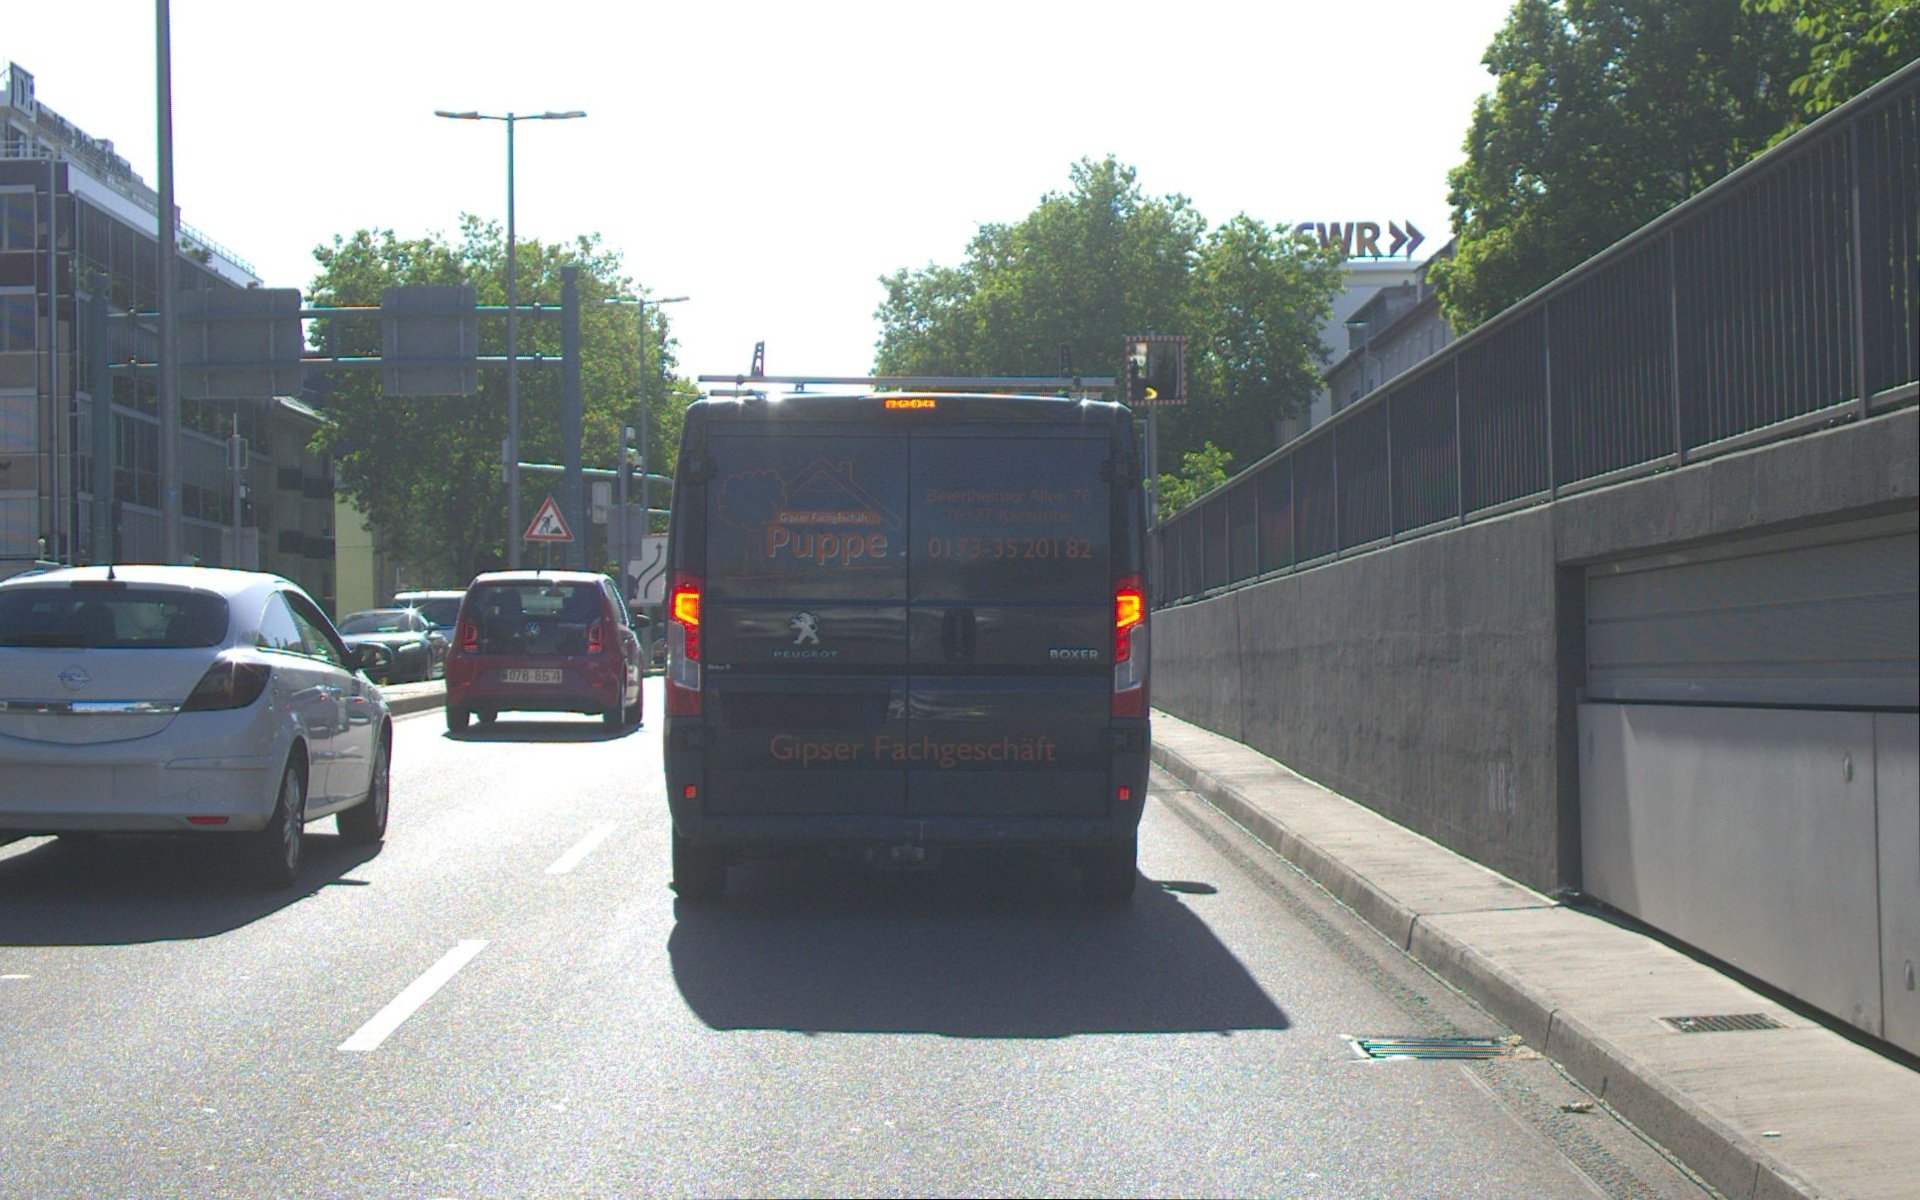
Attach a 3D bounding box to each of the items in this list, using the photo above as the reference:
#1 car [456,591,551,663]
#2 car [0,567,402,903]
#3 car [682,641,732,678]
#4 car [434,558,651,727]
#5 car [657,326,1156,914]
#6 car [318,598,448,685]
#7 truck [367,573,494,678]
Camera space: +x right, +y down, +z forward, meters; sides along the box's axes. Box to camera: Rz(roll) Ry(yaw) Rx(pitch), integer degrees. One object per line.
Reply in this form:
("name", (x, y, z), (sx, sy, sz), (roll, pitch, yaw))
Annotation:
("car", (-10.002, 0.582, 75.523), (1.609, 1.453, 3.608), (-4, 0, -2))
("car", (-3.759, 0.553, 16.459), (1.619, 1.398, 3.852), (1, 1, -1))
("car", (-11.035, 2.588, 150.192), (1.936, 1.550, 3.923), (1, -1, -1))
("car", (-3.850, 0.361, 32.135), (1.689, 1.478, 3.319), (1, 0, -2))
("car", (-0.253, 0.097, 15.992), (2.030, 2.394, 3.973), (0, -1, -1))
("car", (-9.557, 0.670, 57.150), (1.538, 1.295, 3.928), (-3, 0, -2))
("truck", (-13.429, 0.671, 87.573), (2.229, 2.519, 6.129), (-2, -1, 0))
